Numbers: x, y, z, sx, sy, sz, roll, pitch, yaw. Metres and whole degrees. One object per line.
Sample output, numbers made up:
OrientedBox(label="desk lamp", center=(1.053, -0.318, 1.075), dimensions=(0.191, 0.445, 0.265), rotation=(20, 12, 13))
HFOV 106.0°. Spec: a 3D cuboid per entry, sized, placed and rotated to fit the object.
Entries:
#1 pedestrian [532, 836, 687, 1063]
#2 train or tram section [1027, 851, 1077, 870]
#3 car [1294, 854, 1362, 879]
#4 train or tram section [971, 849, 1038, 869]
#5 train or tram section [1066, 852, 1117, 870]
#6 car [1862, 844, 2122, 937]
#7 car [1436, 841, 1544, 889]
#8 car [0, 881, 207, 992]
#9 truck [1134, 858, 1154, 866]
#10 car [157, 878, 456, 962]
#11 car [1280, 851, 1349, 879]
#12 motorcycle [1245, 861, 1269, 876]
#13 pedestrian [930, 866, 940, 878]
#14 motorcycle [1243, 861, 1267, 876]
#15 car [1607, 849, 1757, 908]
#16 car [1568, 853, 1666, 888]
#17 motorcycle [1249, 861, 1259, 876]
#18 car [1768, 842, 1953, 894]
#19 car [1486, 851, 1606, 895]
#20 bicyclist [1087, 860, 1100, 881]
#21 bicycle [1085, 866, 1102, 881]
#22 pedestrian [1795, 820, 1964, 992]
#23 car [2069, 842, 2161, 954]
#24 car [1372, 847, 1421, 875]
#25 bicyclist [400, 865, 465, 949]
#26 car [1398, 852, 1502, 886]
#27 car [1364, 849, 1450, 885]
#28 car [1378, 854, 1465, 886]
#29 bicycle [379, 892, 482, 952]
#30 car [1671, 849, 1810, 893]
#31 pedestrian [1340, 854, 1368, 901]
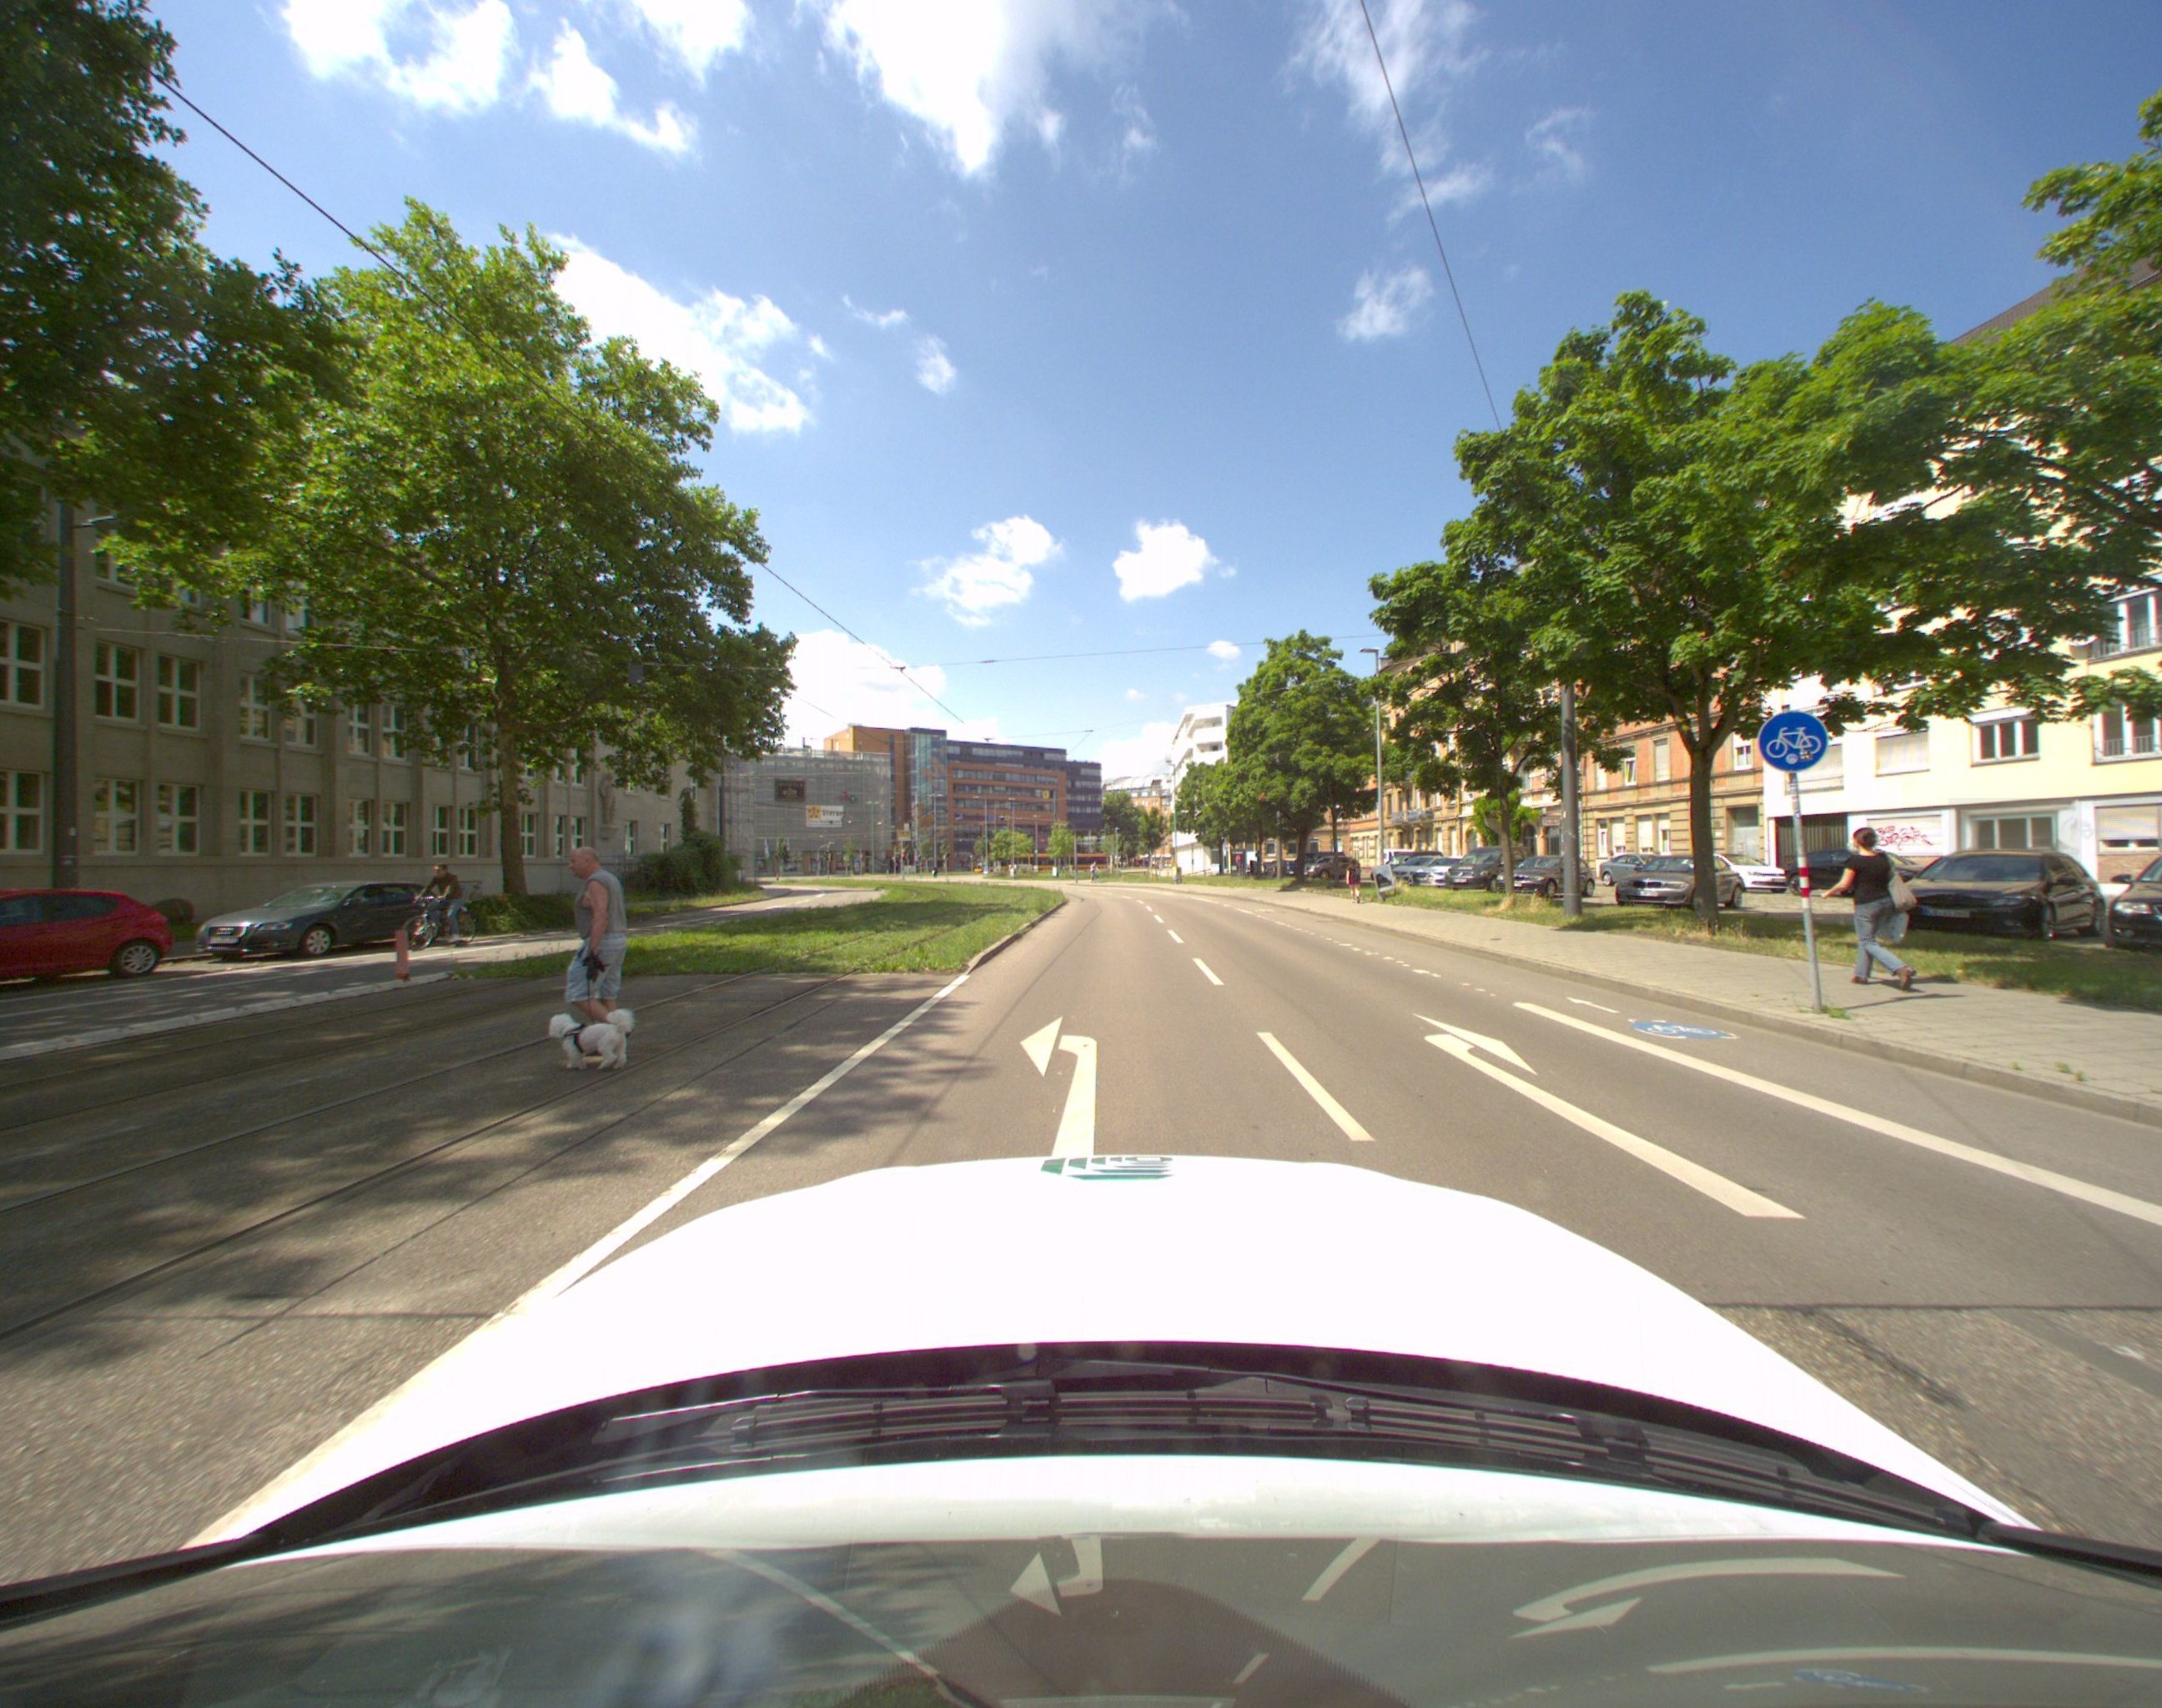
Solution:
OrientedBox(label="pedestrian", center=(-3.734, 0.722, 6.506), dimensions=(0.777, 1.704, 0.703), rotation=(0, -1, 4))
OrientedBox(label="train or tram section", center=(-5.542, 1.274, 158.554), dimensions=(3.026, 3.603, 11.059), rotation=(-1, -2, 42))
OrientedBox(label="car", center=(16.417, 0.850, 54.163), dimensions=(4.181, 1.656, 1.901), rotation=(1, -1, -25))
OrientedBox(label="train or tram section", center=(-13.896, 1.019, 149.709), dimensions=(3.186, 3.600, 13.579), rotation=(-1, -2, 44))
OrientedBox(label="train or tram section", center=(2.216, 1.467, 167.483), dimensions=(3.026, 3.621, 12.713), rotation=(-1, -2, 40))
OrientedBox(label="car", center=(15.498, 0.588, 13.854), dimensions=(4.007, 1.380, 1.945), rotation=(1, -1, -26))
OrientedBox(label="car", center=(15.748, 0.447, 31.319), dimensions=(4.383, 1.741, 1.832), rotation=(1, -2, -34))
OrientedBox(label="car", center=(-15.776, 1.173, 11.709), dimensions=(1.918, 1.420, 4.052), rotation=(1, 0, 2))
OrientedBox(label="truck", center=(17.133, 2.265, 221.466), dimensions=(5.453, 2.086, 2.012), rotation=(-1, -2, 42))
OrientedBox(label="car", center=(-15.420, 1.242, 16.644), dimensions=(1.920, 1.369, 4.317), rotation=(1, 0, 0))
OrientedBox(label="car", center=(16.398, 0.777, 57.157), dimensions=(4.642, 1.927, 1.899), rotation=(1, -2, -29))
OrientedBox(label="motorcycle", center=(14.070, 1.133, 64.965), dimensions=(1.777, 1.167, 0.640), rotation=(-1, -1, 0))
OrientedBox(label="pedestrian", center=(-20.029, 2.472, 111.795), dimensions=(0.907, 1.702, 0.813), rotation=(-2, -1, 26))
OrientedBox(label="motorcycle", center=(14.094, 1.151, 65.847), dimensions=(1.777, 1.167, 0.640), rotation=(-1, -1, 0))
OrientedBox(label="car", center=(15.618, 0.619, 21.107), dimensions=(4.286, 1.380, 1.832), rotation=(1, -2, -34))
OrientedBox(label="car", center=(24.273, 0.758, 37.051), dimensions=(1.825, 1.492, 4.229), rotation=(0, -1, 2))
OrientedBox(label="motorcycle", center=(13.246, 1.103, 62.302), dimensions=(0.633, 1.167, 1.914), rotation=(-1, -1, 14))
OrientedBox(label="car", center=(24.003, 0.445, 25.340), dimensions=(1.825, 1.492, 4.229), rotation=(0, -1, 2))
OrientedBox(label="car", center=(15.711, 0.645, 27.477), dimensions=(4.286, 1.380, 1.832), rotation=(1, -2, -34))
OrientedBox(label="bicyclist", center=(1.047, 1.434, 70.629), dimensions=(0.698, 1.824, 0.948), rotation=(-3, 0, -26))
OrientedBox(label="bicycle", center=(1.053, 1.724, 70.647), dimensions=(0.697, 1.242, 1.823), rotation=(-3, 0, -26))
OrientedBox(label="pedestrian", center=(8.604, 0.534, 8.833), dimensions=(0.698, 1.704, 1.045), rotation=(-4, -1, 1))
OrientedBox(label="car", center=(15.178, 0.563, 10.883), dimensions=(4.013, 1.380, 1.942), rotation=(1, -1, -31))
OrientedBox(label="car", center=(25.109, 0.604, 65.040), dimensions=(2.102, 2.179, 5.396), rotation=(0, -1, 2))
OrientedBox(label="bicyclist", center=(-13.579, 1.088, 17.076), dimensions=(0.762, 1.704, 0.779), rotation=(1, -2, -15))
OrientedBox(label="car", center=(15.962, 0.648, 35.187), dimensions=(4.710, 1.380, 1.833), rotation=(1, -2, -33))
OrientedBox(label="car", center=(16.650, 0.681, 41.584), dimensions=(4.161, 1.741, 1.835), rotation=(1, -2, -29))
OrientedBox(label="car", center=(16.094, 0.756, 38.422), dimensions=(4.100, 1.406, 1.833), rotation=(1, -2, -33))
OrientedBox(label="bicycle", center=(-13.607, 1.382, 17.136), dimensions=(0.792, 1.110, 2.265), rotation=(1, -1, -14))
OrientedBox(label="car", center=(24.111, 0.621, 29.995), dimensions=(1.825, 1.492, 4.229), rotation=(0, -1, 2))
OrientedBox(label="pedestrian", center=(9.486, 0.806, 28.327), dimensions=(0.698, 1.592, 0.905), rotation=(0, -1, 1))
